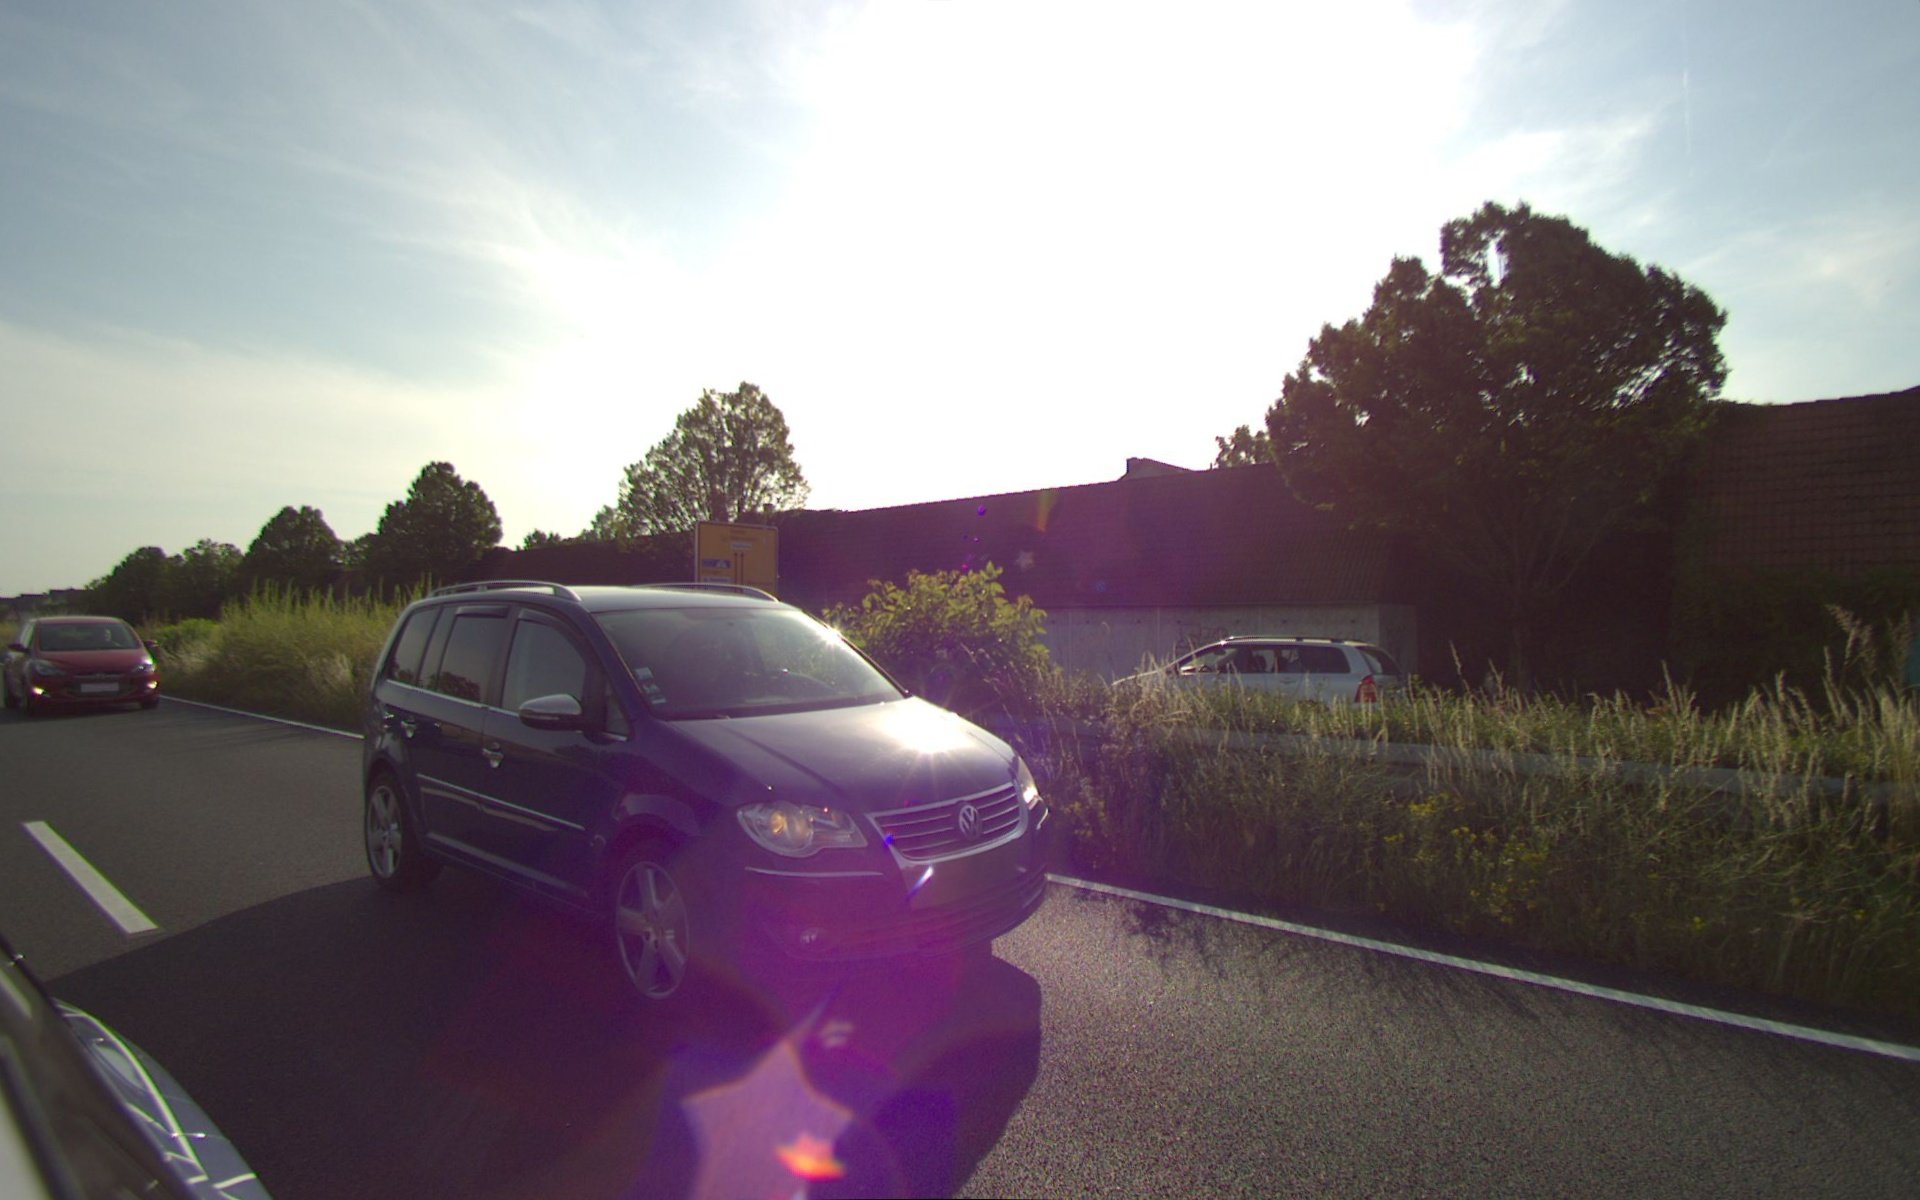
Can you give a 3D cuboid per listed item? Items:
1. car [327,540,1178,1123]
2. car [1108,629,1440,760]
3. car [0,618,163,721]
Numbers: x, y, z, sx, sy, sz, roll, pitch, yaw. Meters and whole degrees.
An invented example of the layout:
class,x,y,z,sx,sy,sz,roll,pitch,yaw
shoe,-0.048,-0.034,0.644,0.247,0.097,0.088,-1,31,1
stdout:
class,x,y,z,sx,sy,sz,roll,pitch,yaw
car,-1.422,0.681,5.075,4.680,1.634,1.754,-1,-1,42
car,4.321,1.203,14.324,4.184,1.520,1.671,-1,0,41
car,-15.421,1.115,17.644,3.999,1.557,1.725,-1,0,42
